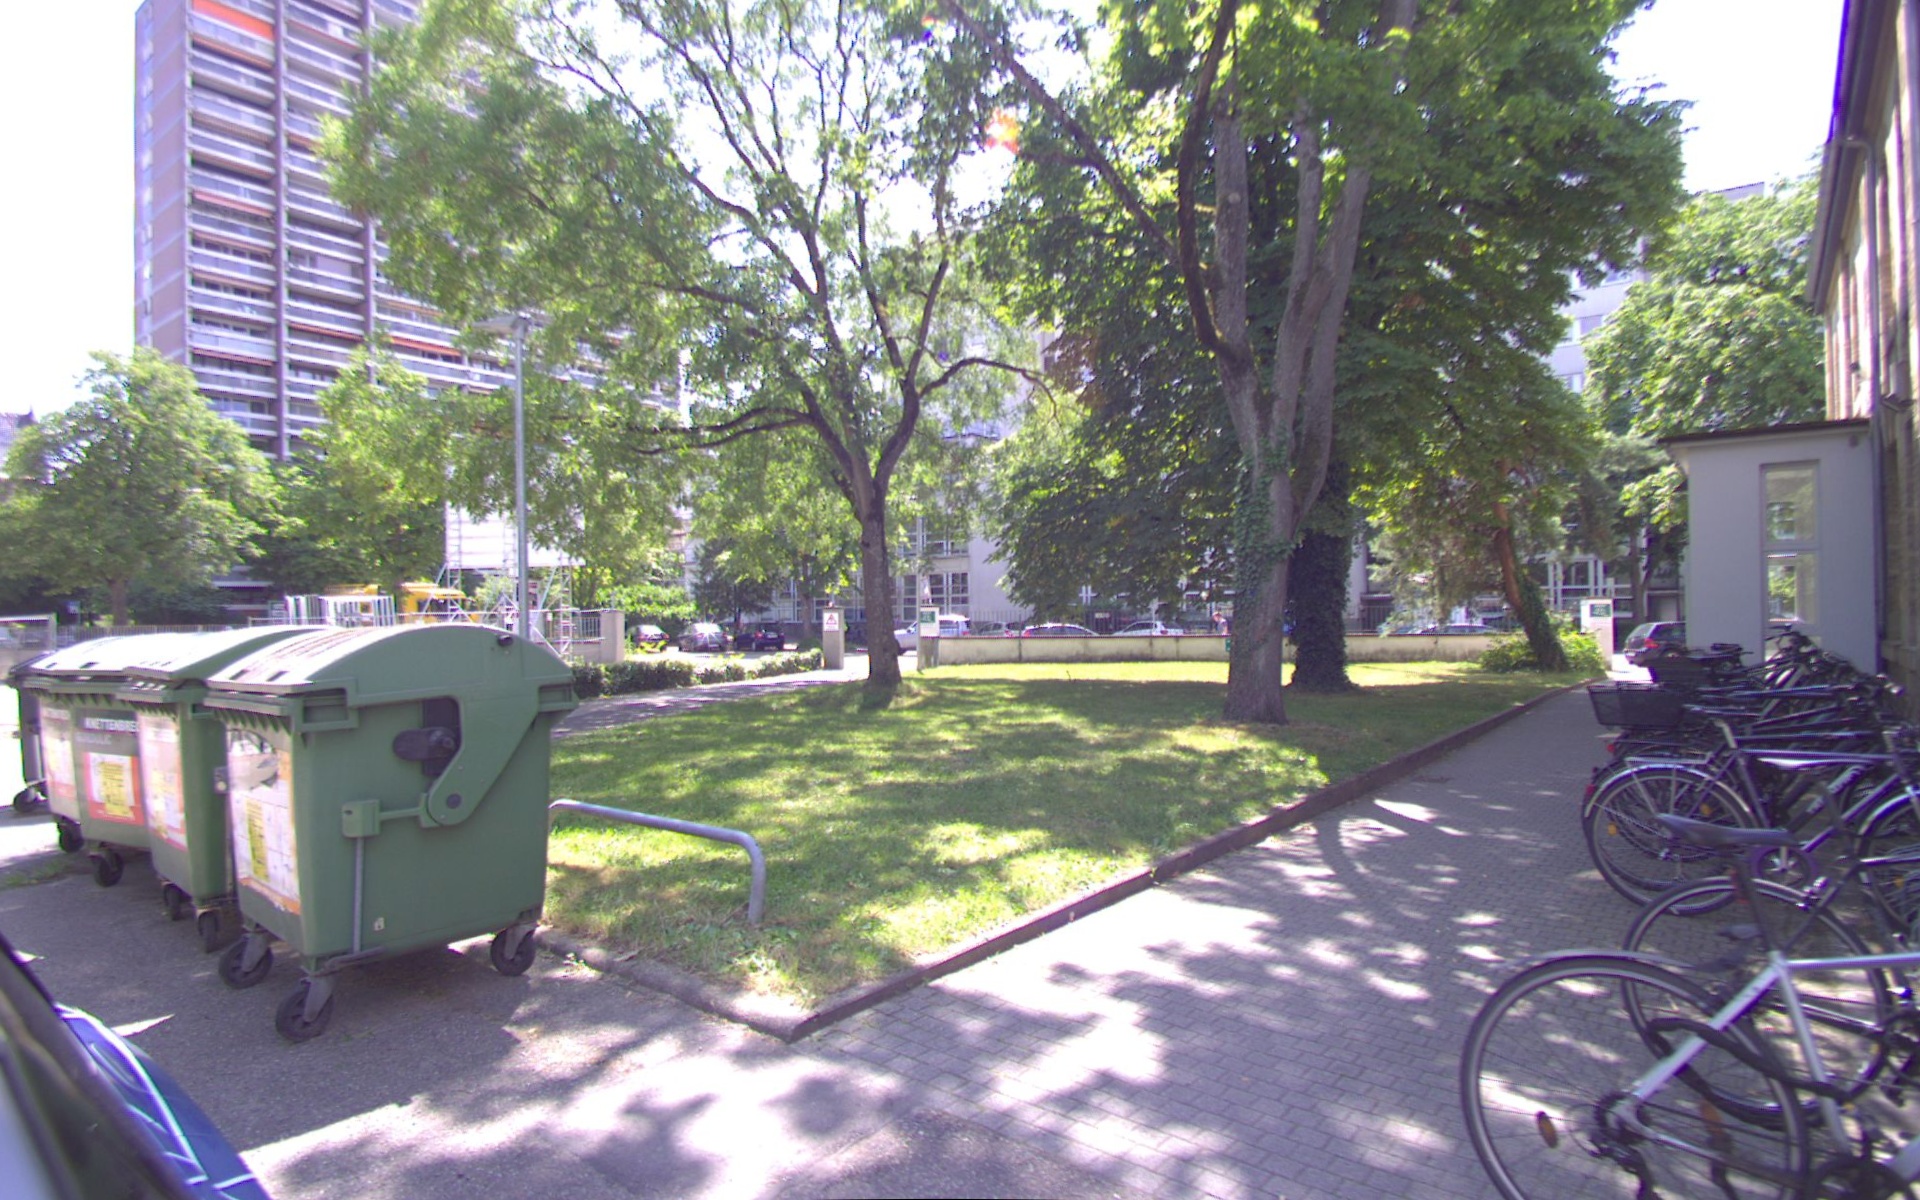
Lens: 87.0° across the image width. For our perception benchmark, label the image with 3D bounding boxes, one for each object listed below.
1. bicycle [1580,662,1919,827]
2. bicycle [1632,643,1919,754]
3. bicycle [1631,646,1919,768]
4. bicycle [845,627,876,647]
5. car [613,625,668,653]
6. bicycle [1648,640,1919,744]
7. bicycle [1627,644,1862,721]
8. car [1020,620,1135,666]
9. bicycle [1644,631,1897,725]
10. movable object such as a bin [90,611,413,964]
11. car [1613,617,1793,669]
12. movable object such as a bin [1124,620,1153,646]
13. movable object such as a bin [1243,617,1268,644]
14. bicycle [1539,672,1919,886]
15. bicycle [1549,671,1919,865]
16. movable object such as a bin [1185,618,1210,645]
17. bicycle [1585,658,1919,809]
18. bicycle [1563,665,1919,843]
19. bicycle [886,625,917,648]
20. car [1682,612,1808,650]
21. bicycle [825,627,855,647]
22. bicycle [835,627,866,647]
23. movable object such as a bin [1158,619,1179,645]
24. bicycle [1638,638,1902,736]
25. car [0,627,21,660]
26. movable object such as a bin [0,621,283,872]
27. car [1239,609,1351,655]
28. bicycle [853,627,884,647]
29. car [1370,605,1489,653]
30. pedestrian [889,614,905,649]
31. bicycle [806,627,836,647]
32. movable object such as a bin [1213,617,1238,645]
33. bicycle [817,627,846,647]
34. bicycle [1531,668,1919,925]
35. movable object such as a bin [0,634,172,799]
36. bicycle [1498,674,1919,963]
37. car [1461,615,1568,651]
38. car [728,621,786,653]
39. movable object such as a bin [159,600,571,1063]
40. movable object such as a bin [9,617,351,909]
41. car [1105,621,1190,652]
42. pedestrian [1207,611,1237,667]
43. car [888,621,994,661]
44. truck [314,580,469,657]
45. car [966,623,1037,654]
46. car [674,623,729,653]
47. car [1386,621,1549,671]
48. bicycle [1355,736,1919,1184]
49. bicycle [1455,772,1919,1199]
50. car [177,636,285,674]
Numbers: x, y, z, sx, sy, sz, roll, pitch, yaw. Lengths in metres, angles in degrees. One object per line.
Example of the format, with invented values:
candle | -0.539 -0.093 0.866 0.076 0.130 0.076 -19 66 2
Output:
bicycle | 5.751 0.970 7.167 2.255 1.019 0.600 -2 -2 36
bicycle | 8.198 0.961 10.247 2.252 1.019 0.601 -2 -2 32
bicycle | 7.580 0.945 9.353 2.255 1.019 0.600 -2 -2 36
bicycle | -5.758 2.129 58.666 0.568 1.139 1.917 -2 -2 42
car | -16.798 2.048 53.084 1.603 1.383 4.032 0 -1 -35
bicycle | 8.852 0.965 10.967 2.252 1.019 0.601 -2 -2 32
bicycle | 9.840 1.019 12.827 2.252 0.897 0.648 -2 -2 32
car | 3.891 1.453 33.502 3.682 1.468 1.585 -1 -4 8
bicycle | 9.546 0.905 12.053 2.251 1.019 0.626 -2 -2 31
movable object such as a bin | -3.566 0.814 5.100 1.261 1.491 1.034 -2 -2 39
car | 21.738 1.267 29.782 3.736 1.455 1.944 -1 -2 13
movable object such as a bin | 9.489 1.737 53.816 1.437 1.340 1.122 -1 -2 13
movable object such as a bin | 15.355 1.592 52.605 1.172 1.409 1.031 -1 -2 19
bicycle | 4.557 0.940 5.622 2.255 1.019 0.600 -2 -2 36
bicycle | 4.927 0.965 6.155 2.255 1.019 0.600 -2 -2 36
movable object such as a bin | 12.531 1.651 53.358 1.172 1.409 1.031 -1 -2 19
bicycle | 6.169 0.971 7.793 2.255 1.019 0.600 -2 -2 36
bicycle | 5.330 0.962 6.678 2.255 1.019 0.600 -2 -2 36
bicycle | -3.310 2.067 57.351 0.568 1.247 1.917 -2 -2 42
car | 34.027 1.315 43.943 1.722 1.397 4.010 -2 2 -35
bicycle | -7.086 2.173 59.783 0.568 1.139 1.901 -2 -2 42
bicycle | -6.437 2.183 59.362 0.568 1.139 1.917 -2 -2 42
movable object such as a bin | 11.026 1.710 53.555 1.066 1.340 0.967 -1 -2 13
bicycle | 9.131 0.965 11.543 2.252 1.019 0.564 -2 -2 32
car | -60.946 2.730 63.348 1.965 2.029 4.013 -1 -1 -24
movable object such as a bin | -5.591 0.898 6.913 1.321 1.491 1.194 -2 -2 33
car | 15.403 1.454 46.798 1.967 2.029 4.642 0 -2 -34
bicycle | -5.241 2.122 58.059 0.568 1.139 1.917 -2 -2 42
car | 21.234 1.308 45.972 1.965 2.029 4.645 0 -2 -27
pedestrian | -3.399 1.681 54.465 0.574 1.889 0.710 -1 -2 25
bicycle | -8.320 2.207 60.709 0.568 1.139 1.902 -2 -2 39
movable object such as a bin | 13.890 1.622 52.998 1.172 1.409 1.031 -1 -2 19
bicycle | -7.653 2.179 60.307 0.568 1.139 1.902 -2 -2 39
bicycle | 4.162 0.912 4.980 2.258 1.090 0.599 -2 -2 41
movable object such as a bin | -8.179 1.032 9.448 1.097 1.405 1.164 0 -2 -28
bicycle | 3.734 0.912 4.512 2.258 1.090 0.599 -2 -2 41
car | 24.650 1.465 45.149 1.642 1.497 4.013 0 -1 -23
car | -10.537 1.912 52.345 1.623 1.528 3.584 0 -2 -35
movable object such as a bin | -2.435 0.769 4.129 1.408 1.491 1.034 -2 -2 40
movable object such as a bin | -4.548 0.854 5.955 1.352 1.491 1.087 -1 -2 24
car | 8.949 1.740 48.547 1.686 1.424 3.991 0 -2 -35
pedestrian | 7.519 1.110 29.093 0.736 1.579 0.695 -1 -1 9
car | -0.795 1.748 43.869 4.349 1.619 1.995 -1 -1 8
truck | -31.916 1.061 56.663 9.698 4.036 2.725 -1 -1 28
car | 2.023 1.874 50.262 1.725 1.473 3.549 0 -2 -35
car | -13.523 1.977 52.827 1.788 1.474 4.035 -1 -1 -29
car | 15.470 1.412 31.076 4.110 1.429 1.876 -1 -2 14
bicycle | 2.384 0.965 2.884 2.258 0.965 0.599 -2 -2 41
bicycle | 1.955 0.913 1.897 1.729 0.965 0.605 -2 -2 41
car | -28.929 2.166 40.185 3.550 1.451 1.615 -1 -1 15
